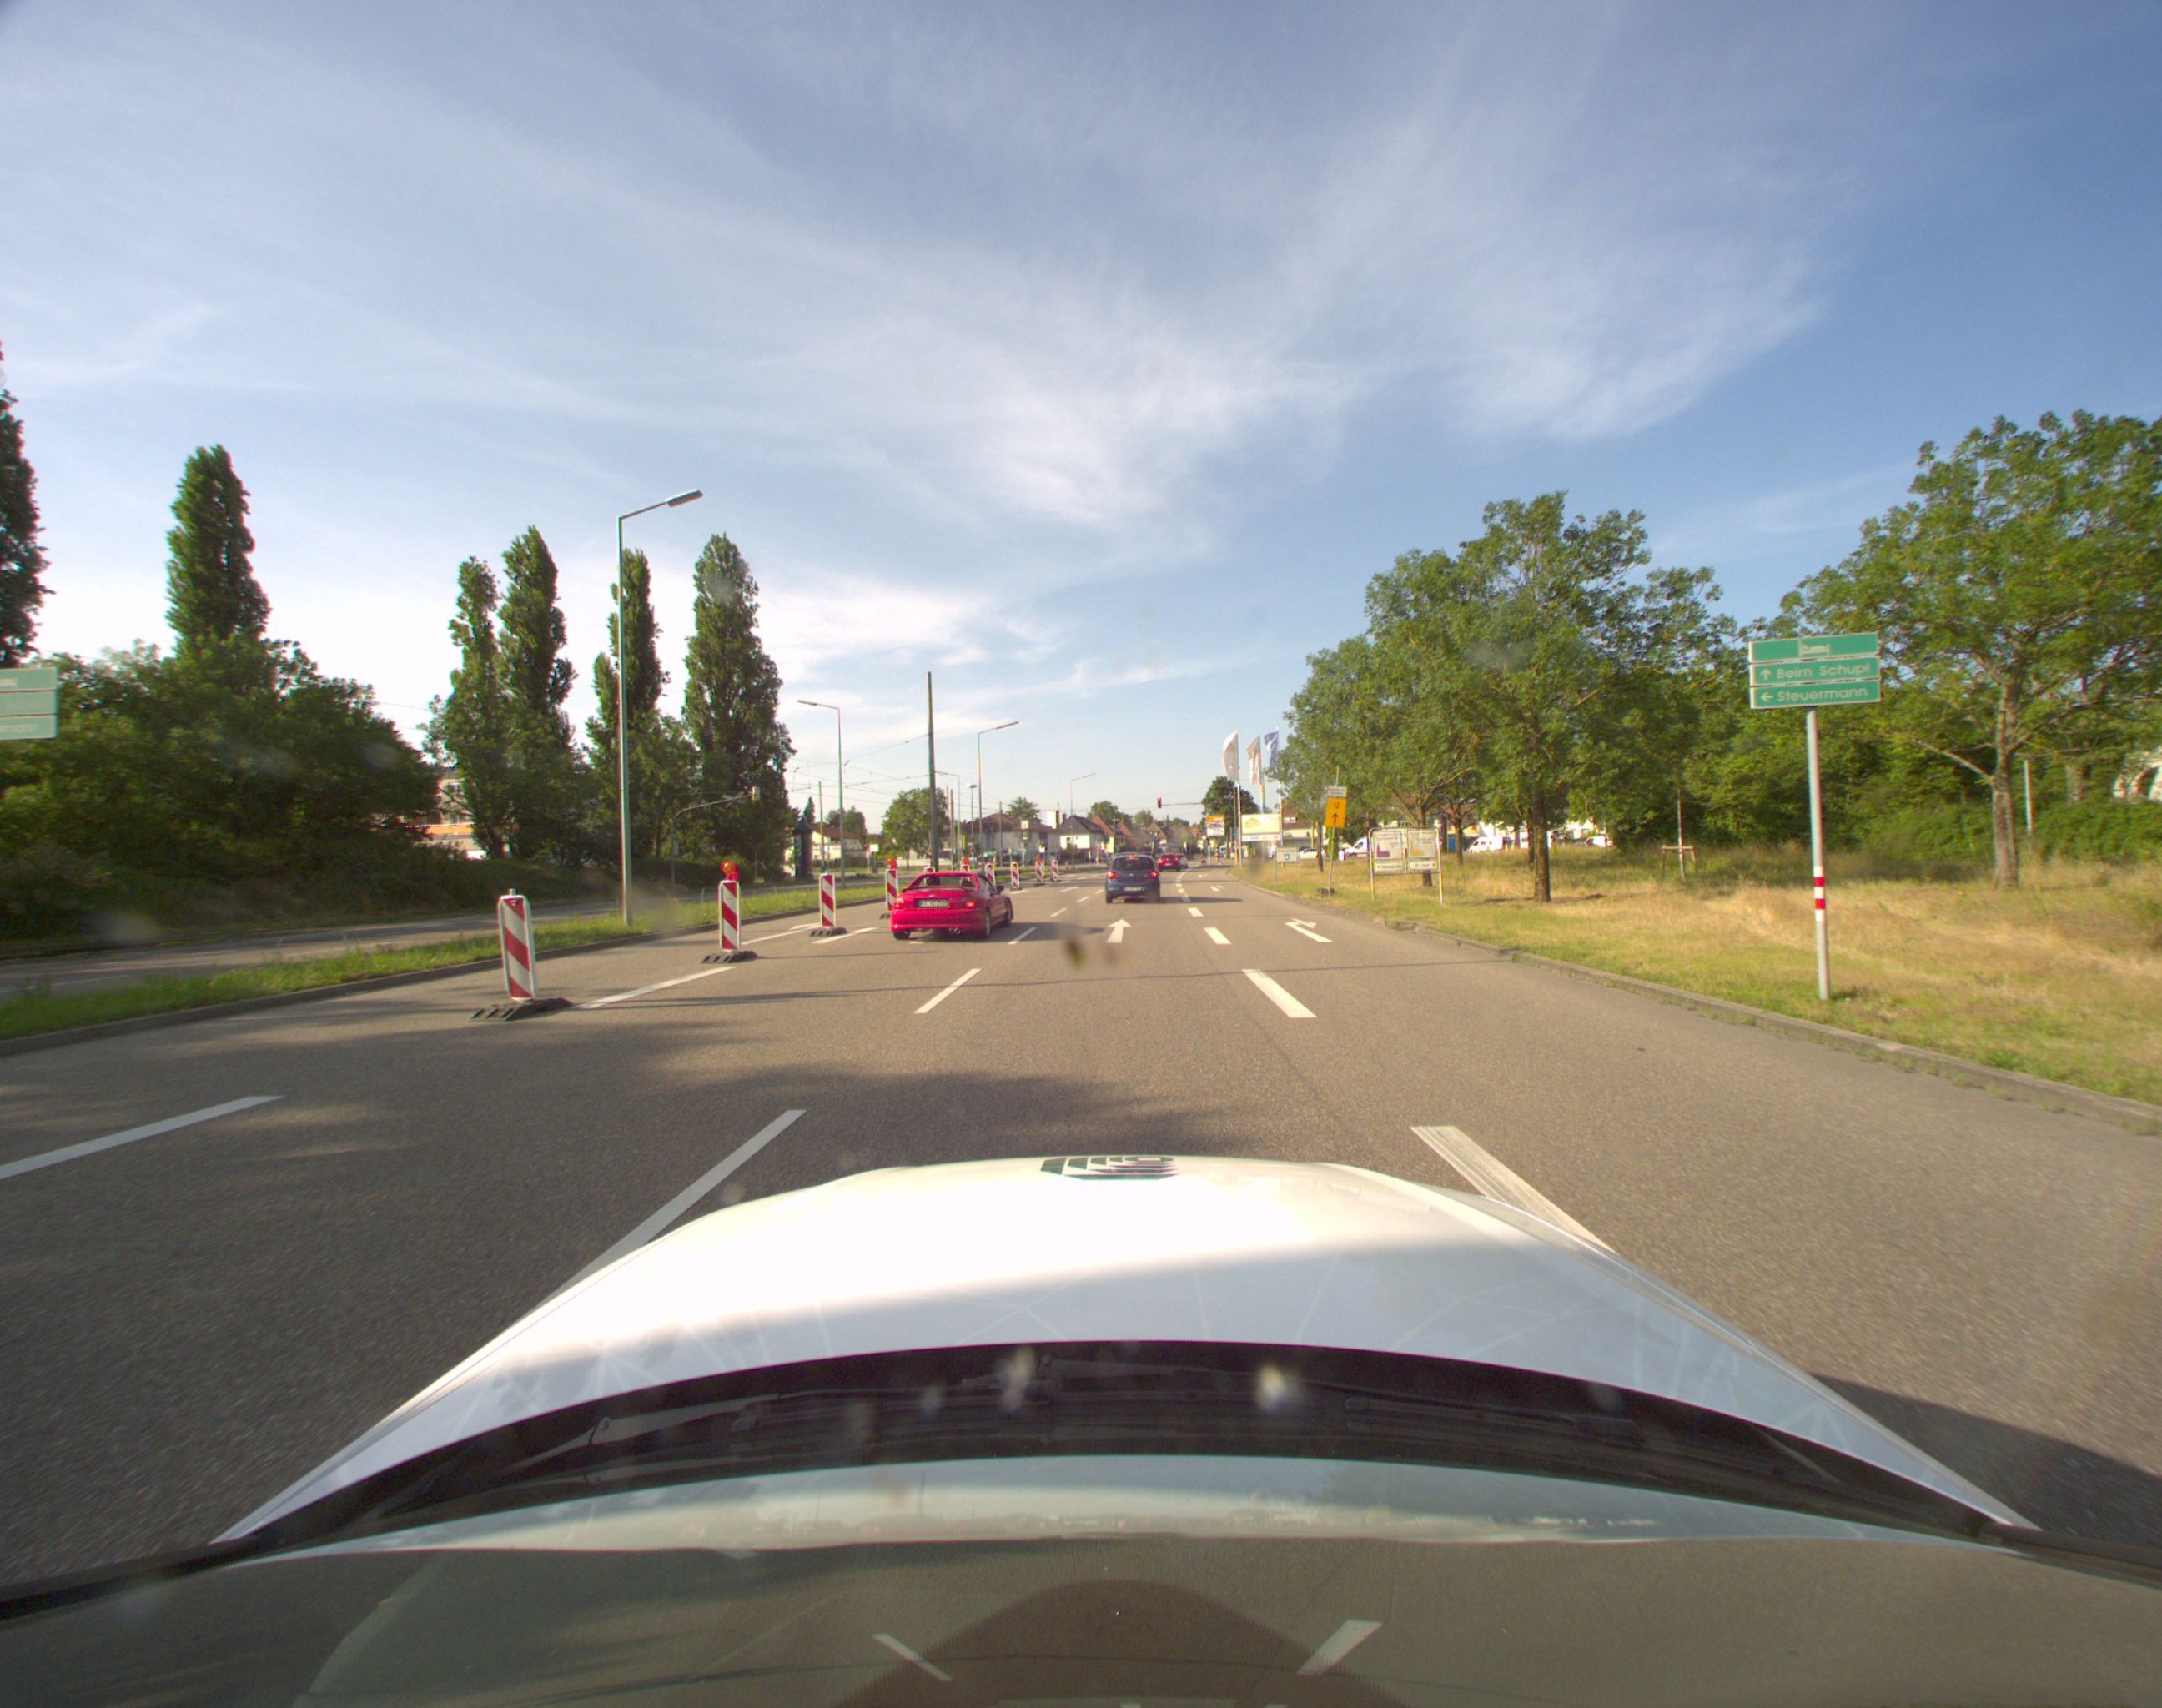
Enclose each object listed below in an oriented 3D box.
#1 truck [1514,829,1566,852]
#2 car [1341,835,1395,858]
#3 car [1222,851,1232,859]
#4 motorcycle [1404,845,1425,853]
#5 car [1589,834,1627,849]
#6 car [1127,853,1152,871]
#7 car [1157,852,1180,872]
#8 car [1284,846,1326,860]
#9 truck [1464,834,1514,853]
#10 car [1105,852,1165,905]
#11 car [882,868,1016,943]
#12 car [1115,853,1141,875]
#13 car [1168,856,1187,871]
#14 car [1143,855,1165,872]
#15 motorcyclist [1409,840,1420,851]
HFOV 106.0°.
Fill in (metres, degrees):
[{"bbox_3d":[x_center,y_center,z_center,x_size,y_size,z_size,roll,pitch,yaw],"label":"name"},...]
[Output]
[{"bbox_3d":[64.015,-1.842,113.779,1.904,2.854,6.013,-2,-1,-35],"label":"truck"},{"bbox_3d":[36.307,-0.923,103.018,6.167,2.583,2.006,-2,0,11],"label":"car"},{"bbox_3d":[27.633,0.189,153.822,1.663,1.398,4.013,0,-1,12],"label":"car"},{"bbox_3d":[41.443,-0.588,101.216,2.257,0.866,0.693,-2,0,10],"label":"motorcycle"},{"bbox_3d":[73.206,-1.777,113.159,1.904,1.920,3.867,-2,-1,-35],"label":"car"},{"bbox_3d":[5.448,0.720,75.154,1.688,1.508,4.569,-1,0,12],"label":"car"},{"bbox_3d":[7.368,0.640,68.281,1.696,1.552,3.987,-2,0,9],"label":"car"},{"bbox_3d":[28.659,-0.134,104.443,5.061,1.563,1.846,-2,0,12],"label":"car"},{"bbox_3d":[57.613,-1.432,115.090,2.280,2.524,6.308,-2,0,-23],"label":"truck"},{"bbox_3d":[1.701,0.724,26.334,1.734,1.505,4.225,-2,0,3],"label":"car"},{"bbox_3d":[-2.423,0.915,15.875,1.723,1.206,3.851,0,0,4],"label":"car"},{"bbox_3d":[3.899,0.783,66.735,1.753,1.670,4.094,-1,0,8],"label":"car"},{"bbox_3d":[9.746,0.921,81.748,1.646,1.443,4.024,-2,0,9],"label":"car"},{"bbox_3d":[7.426,0.945,82.420,1.496,1.651,4.762,-2,0,14],"label":"car"},{"bbox_3d":[41.425,-1.047,101.228,1.059,1.352,0.682,-2,0,10],"label":"motorcyclist"}]
